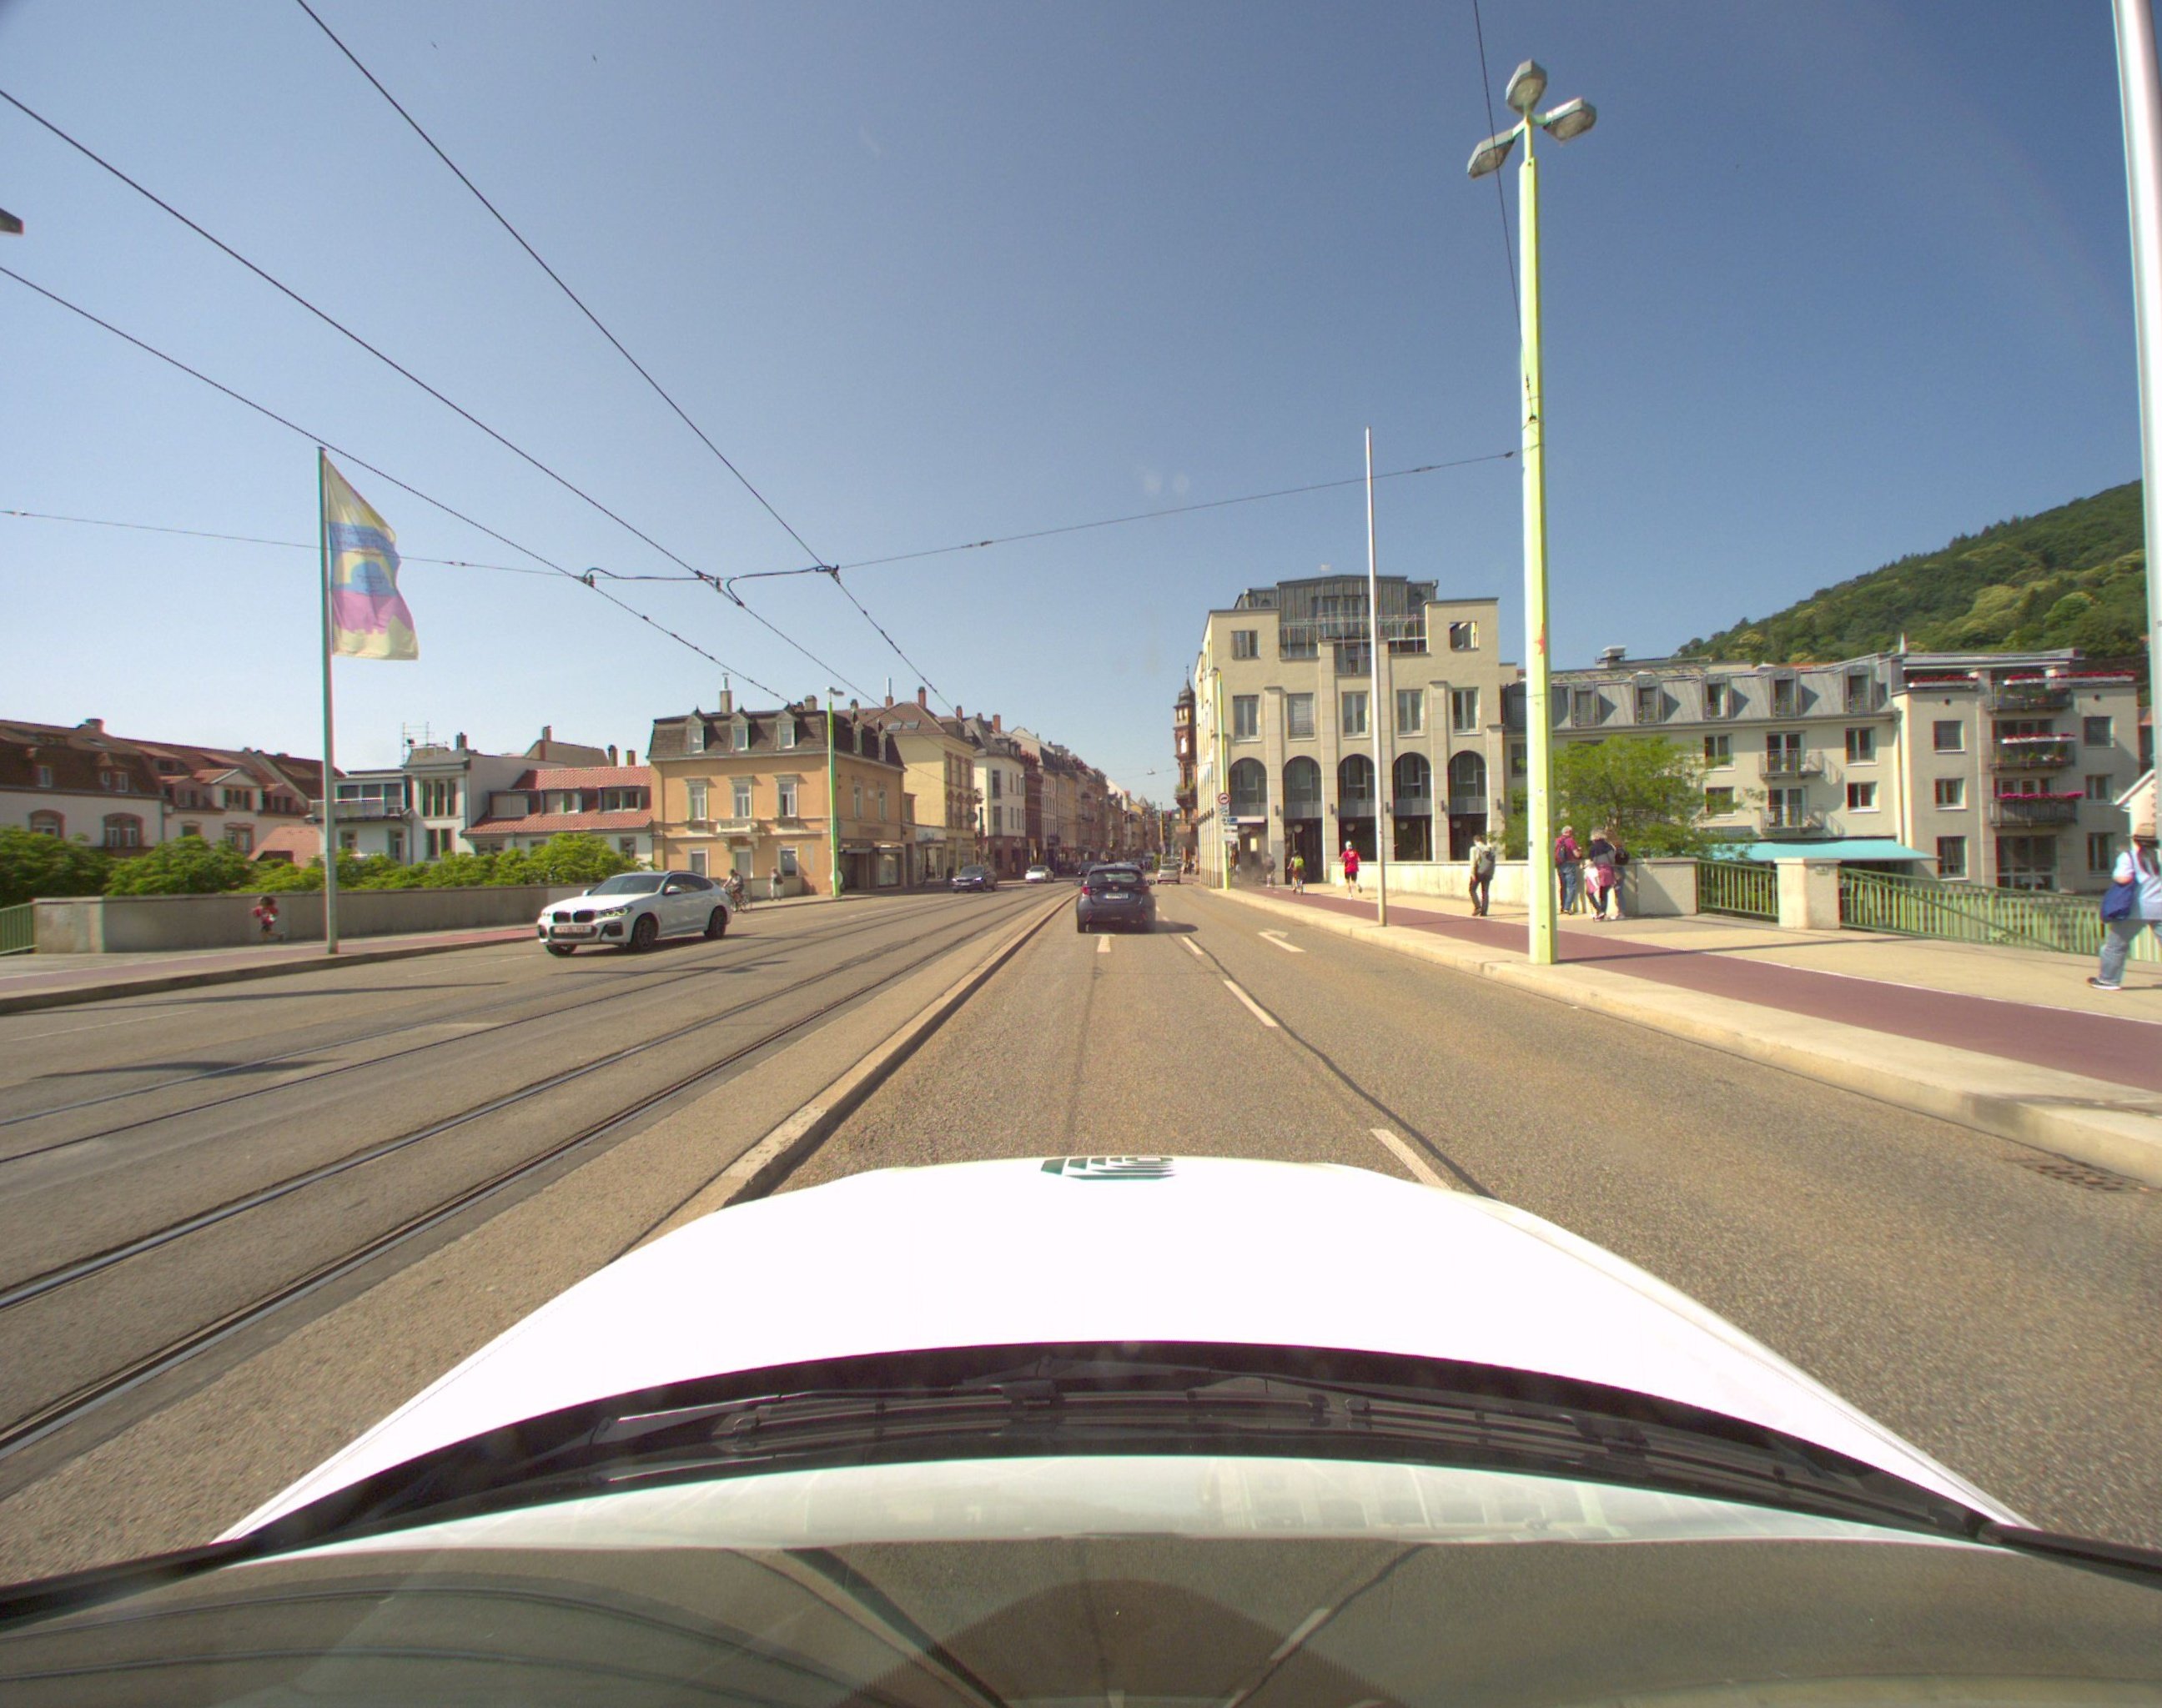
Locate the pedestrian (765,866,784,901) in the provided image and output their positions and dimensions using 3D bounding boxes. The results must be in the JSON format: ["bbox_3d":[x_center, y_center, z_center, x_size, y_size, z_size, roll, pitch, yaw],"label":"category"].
[{"bbox_3d":[-14.957,1.429,39.723,0.646,1.602,0.566,3,1,2],"label":"pedestrian"}]

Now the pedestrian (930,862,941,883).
[{"bbox_3d":[-11.273,1.436,63.199,0.646,1.602,0.566,3,1,2],"label":"pedestrian"}]

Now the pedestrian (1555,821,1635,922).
[{"bbox_3d":[9.502,0.323,15.094,0.737,1.777,1.015,-3,-1,0],"label":"pedestrian"}]

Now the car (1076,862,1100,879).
[{"bbox_3d":[0.781,1.811,89.116,1.982,1.773,4.009,-1,-1,9],"label":"car"}]

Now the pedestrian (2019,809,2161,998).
[{"bbox_3d":[9.085,0.396,7.047,0.823,1.530,0.937,-3,-1,15],"label":"pedestrian"}]

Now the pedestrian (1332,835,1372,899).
[{"bbox_3d":[8.520,0.404,25.633,0.808,1.925,1.128,-3,-1,1],"label":"pedestrian"}]

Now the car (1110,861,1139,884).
[{"bbox_3d":[2.962,1.280,56.555,1.890,1.530,4.001,0,-1,1],"label":"car"}]

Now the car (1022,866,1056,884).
[{"bbox_3d":[-3.378,1.712,66.400,1.982,1.432,4.009,-1,-1,9],"label":"car"}]

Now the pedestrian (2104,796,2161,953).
[{"bbox_3d":[12.343,0.203,9.116,1.015,1.718,0.737,-3,-1,-18],"label":"pedestrian"}]

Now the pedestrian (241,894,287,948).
[{"bbox_3d":[-17.985,1.460,17.937,0.409,1.146,0.547,0,-2,16],"label":"pedestrian"}]

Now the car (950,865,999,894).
[{"bbox_3d":[-6.066,1.419,46.752,1.784,1.545,3.929,-2,-1,8],"label":"car"}]

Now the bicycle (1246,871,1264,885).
[{"bbox_3d":[9.971,1.367,46.608,0.592,0.765,1.866,-3,-1,-1],"label":"bicycle"}]

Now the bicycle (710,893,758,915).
[{"bbox_3d":[-13.269,1.907,31.208,0.616,0.716,2.051,0,0,11],"label":"bicycle"}]

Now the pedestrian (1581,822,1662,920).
[{"bbox_3d":[10.179,0.312,15.369,0.737,1.746,1.015,-3,-1,-2],"label":"pedestrian"}]

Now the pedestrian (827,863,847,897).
[{"bbox_3d":[-13.014,1.389,43.484,0.733,1.766,0.787,3,-1,2],"label":"pedestrian"}]

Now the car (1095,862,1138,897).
[{"bbox_3d":[1.614,1.159,37.941,1.890,1.530,4.001,0,-1,1],"label":"car"}]

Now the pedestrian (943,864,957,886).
[{"bbox_3d":[-9.853,1.563,61.124,0.757,1.654,0.713,3,-1,11],"label":"pedestrian"}]

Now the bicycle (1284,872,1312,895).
[{"bbox_3d":[8.043,1.091,30.215,0.591,0.765,1.867,-3,-1,2],"label":"bicycle"}]

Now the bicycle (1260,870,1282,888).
[{"bbox_3d":[8.989,1.167,38.589,0.592,0.765,1.830,-3,-1,-1],"label":"bicycle"}]

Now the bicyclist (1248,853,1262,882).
[{"bbox_3d":[9.950,0.764,46.670,0.585,1.650,0.702,-2,-1,0],"label":"bicyclist"}]

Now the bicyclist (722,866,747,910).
[{"bbox_3d":[-13.271,1.298,31.219,0.623,1.650,0.623,0,0,10],"label":"bicyclist"}]

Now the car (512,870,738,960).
[{"bbox_3d":[-9.457,1.175,17.460,1.985,1.586,4.656,-2,-1,3],"label":"car"}]

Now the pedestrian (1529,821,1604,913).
[{"bbox_3d":[9.976,0.262,16.773,1.009,1.802,0.741,-3,-1,-1],"label":"pedestrian"}]

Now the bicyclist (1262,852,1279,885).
[{"bbox_3d":[8.972,0.682,38.588,0.585,1.559,0.702,-2,-1,0],"label":"bicyclist"}]

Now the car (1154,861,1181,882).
[{"bbox_3d":[6.493,1.287,61.267,1.699,1.466,4.327,0,-1,2],"label":"car"}]

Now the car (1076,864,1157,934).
[{"bbox_3d":[0.810,0.975,19.090,1.713,1.474,3.659,0,-1,1],"label":"car"}]

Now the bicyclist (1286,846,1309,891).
[{"bbox_3d":[8.010,0.531,30.168,0.602,1.650,0.702,-3,-1,2],"label":"bicyclist"}]

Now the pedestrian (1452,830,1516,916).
[{"bbox_3d":[8.565,0.396,17.333,0.752,1.718,1.073,-3,-1,1],"label":"pedestrian"}]
